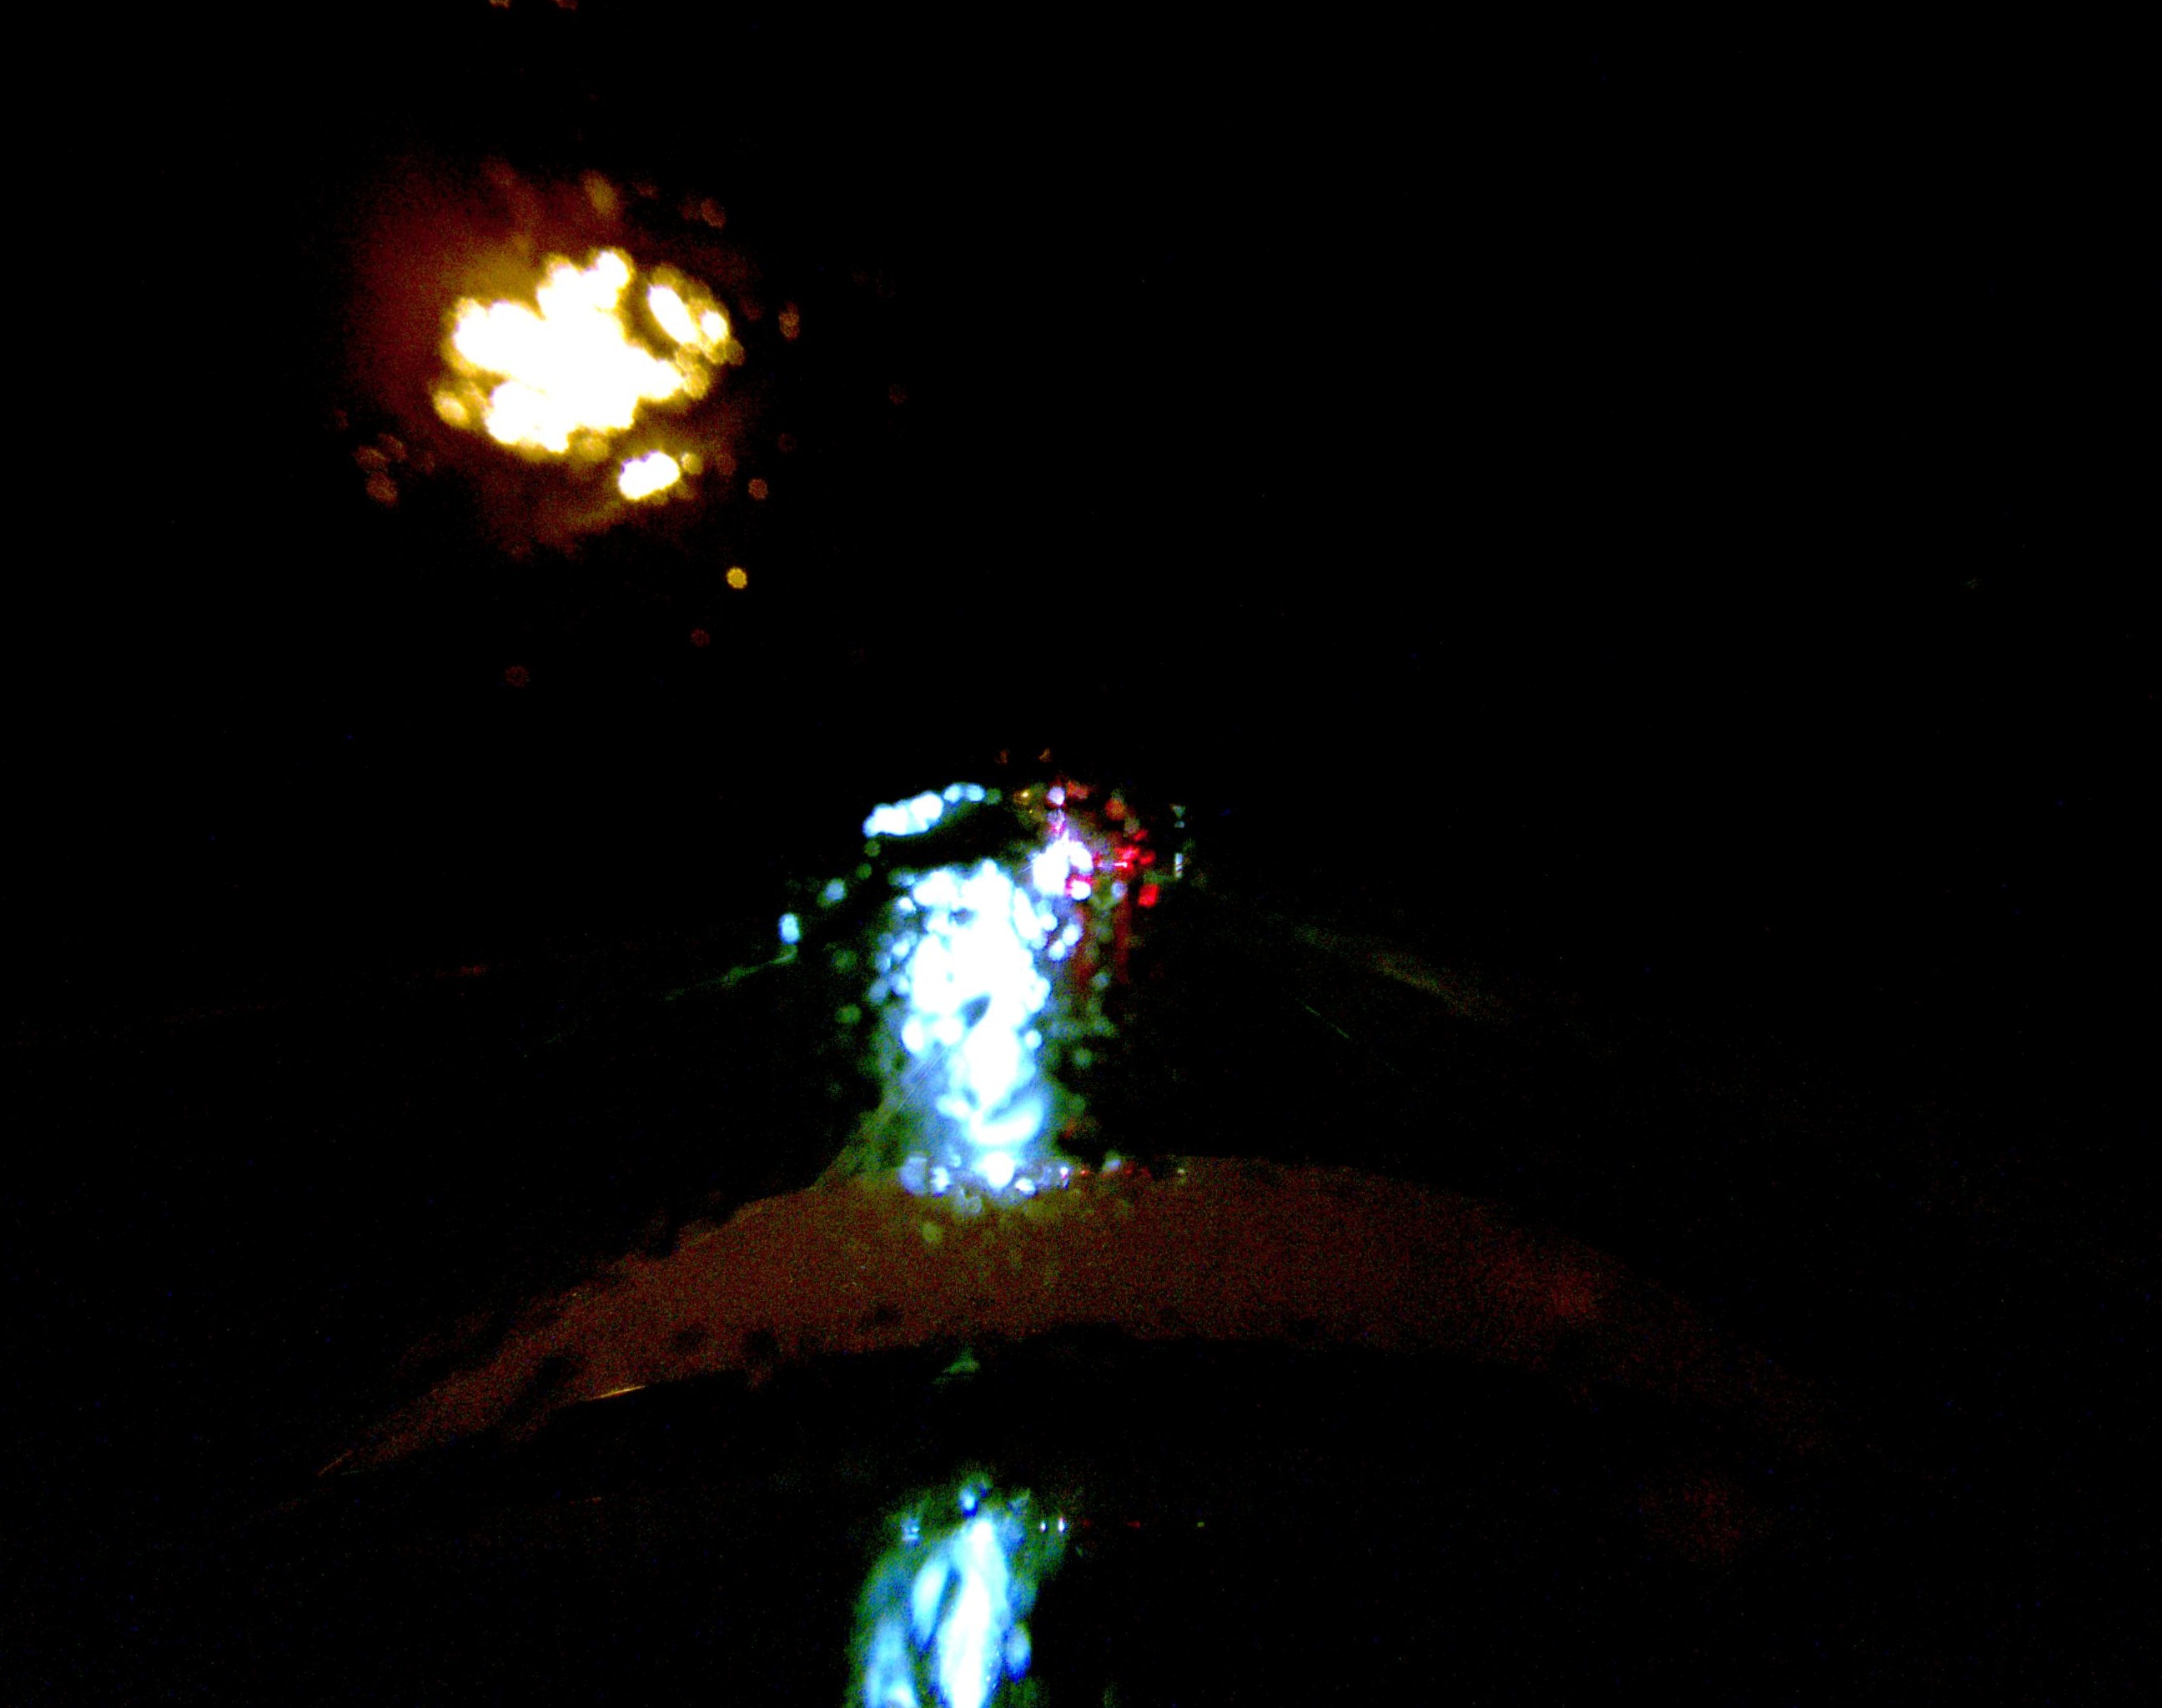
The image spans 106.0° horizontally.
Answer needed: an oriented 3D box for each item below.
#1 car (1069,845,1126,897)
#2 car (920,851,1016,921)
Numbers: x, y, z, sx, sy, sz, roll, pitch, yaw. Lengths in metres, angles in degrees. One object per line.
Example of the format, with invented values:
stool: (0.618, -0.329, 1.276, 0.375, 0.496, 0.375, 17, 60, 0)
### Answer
car: (0.573, 0.561, 27.560, 1.795, 1.628, 3.616, 1, -1, 2)
car: (-2.622, 0.721, 19.786, 1.726, 1.518, 4.015, 0, 0, 0)
